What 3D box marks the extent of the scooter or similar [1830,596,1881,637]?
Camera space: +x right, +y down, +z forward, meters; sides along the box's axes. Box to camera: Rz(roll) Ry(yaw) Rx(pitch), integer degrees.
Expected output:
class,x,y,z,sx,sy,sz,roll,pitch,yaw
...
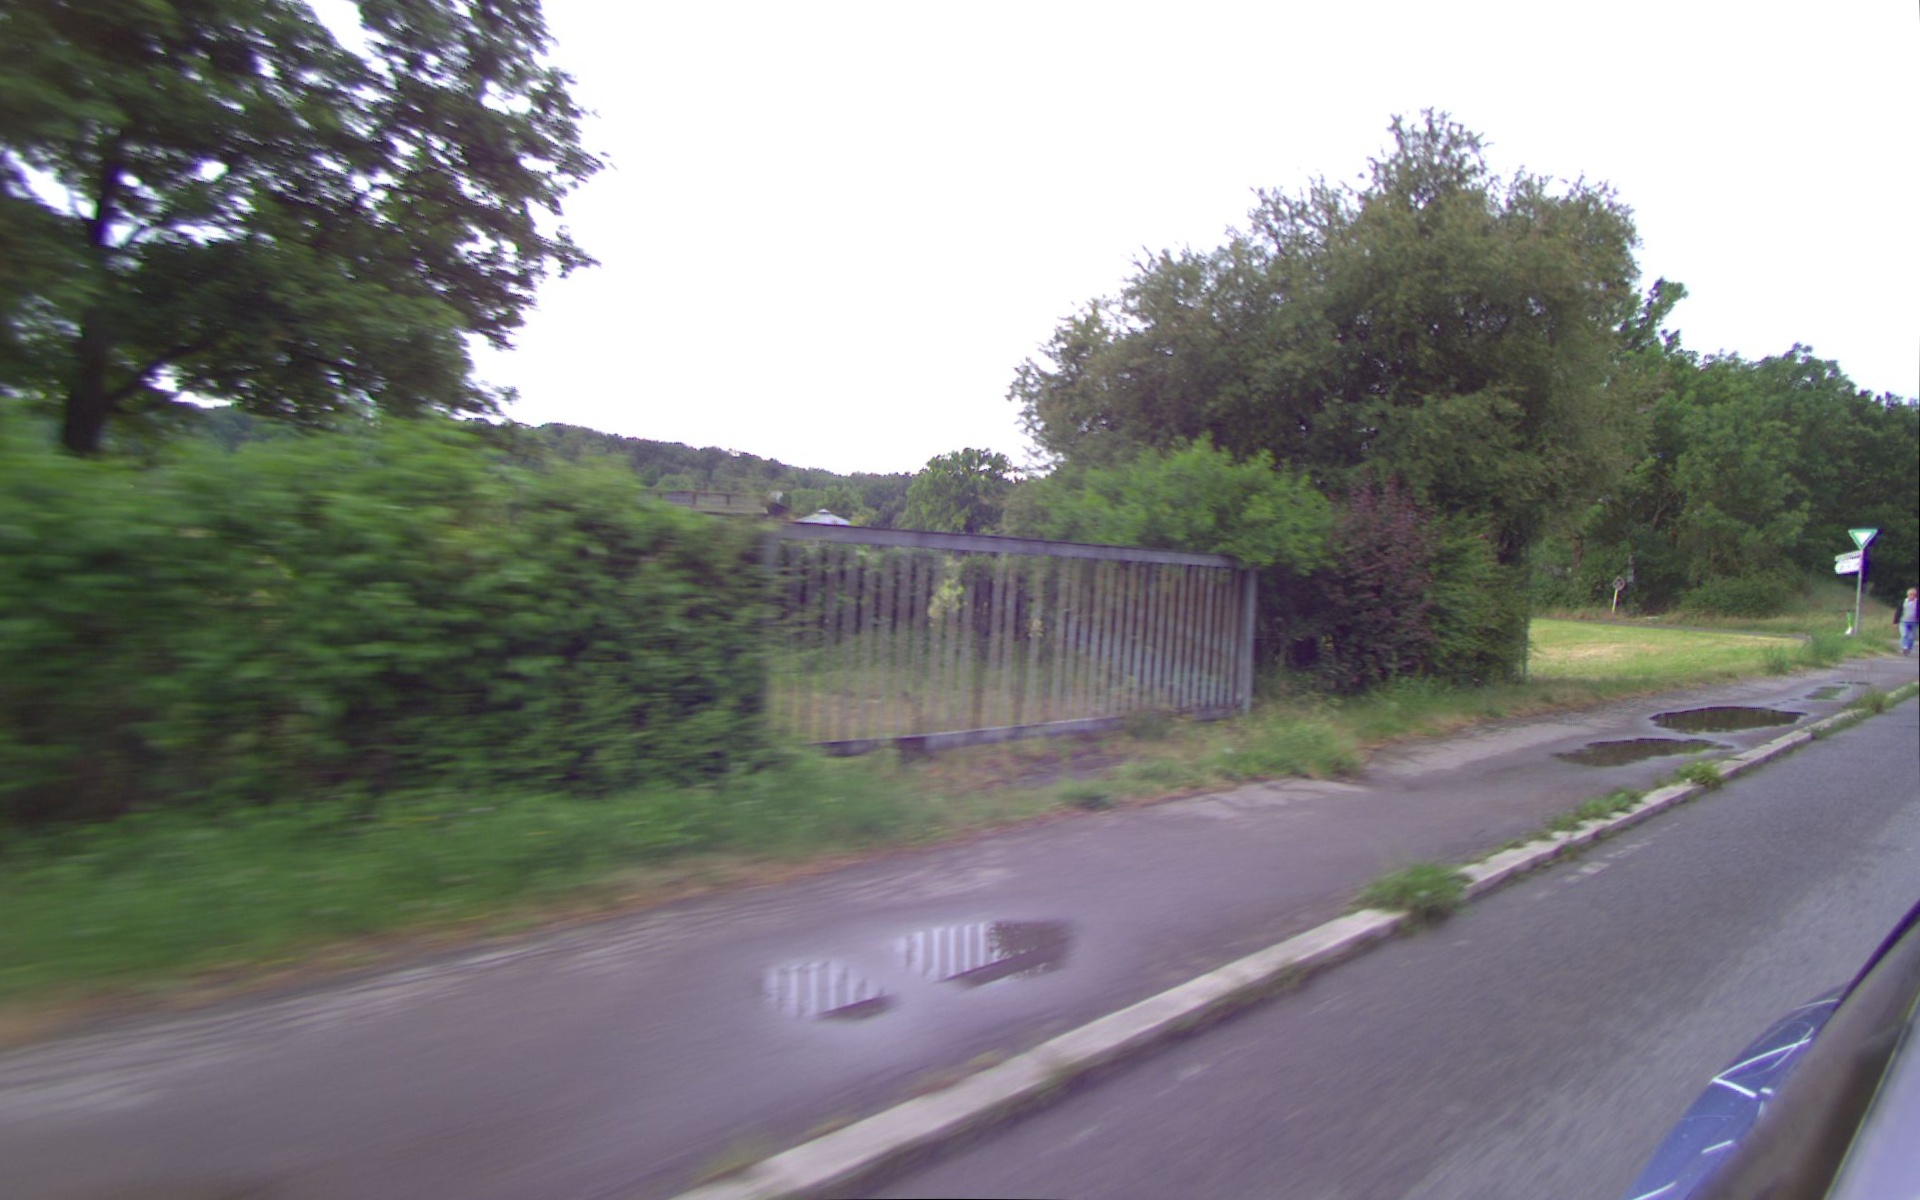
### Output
class,x,y,z,sx,sy,sz,roll,pitch,yaw
scooter or similar,28.115,0.507,31.805,0.367,1.221,1.328,1,2,0

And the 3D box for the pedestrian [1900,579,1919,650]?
class,x,y,z,sx,sy,sz,roll,pitch,yaw
pedestrian,25.526,0.375,26.821,0.690,1.850,0.792,2,2,33
